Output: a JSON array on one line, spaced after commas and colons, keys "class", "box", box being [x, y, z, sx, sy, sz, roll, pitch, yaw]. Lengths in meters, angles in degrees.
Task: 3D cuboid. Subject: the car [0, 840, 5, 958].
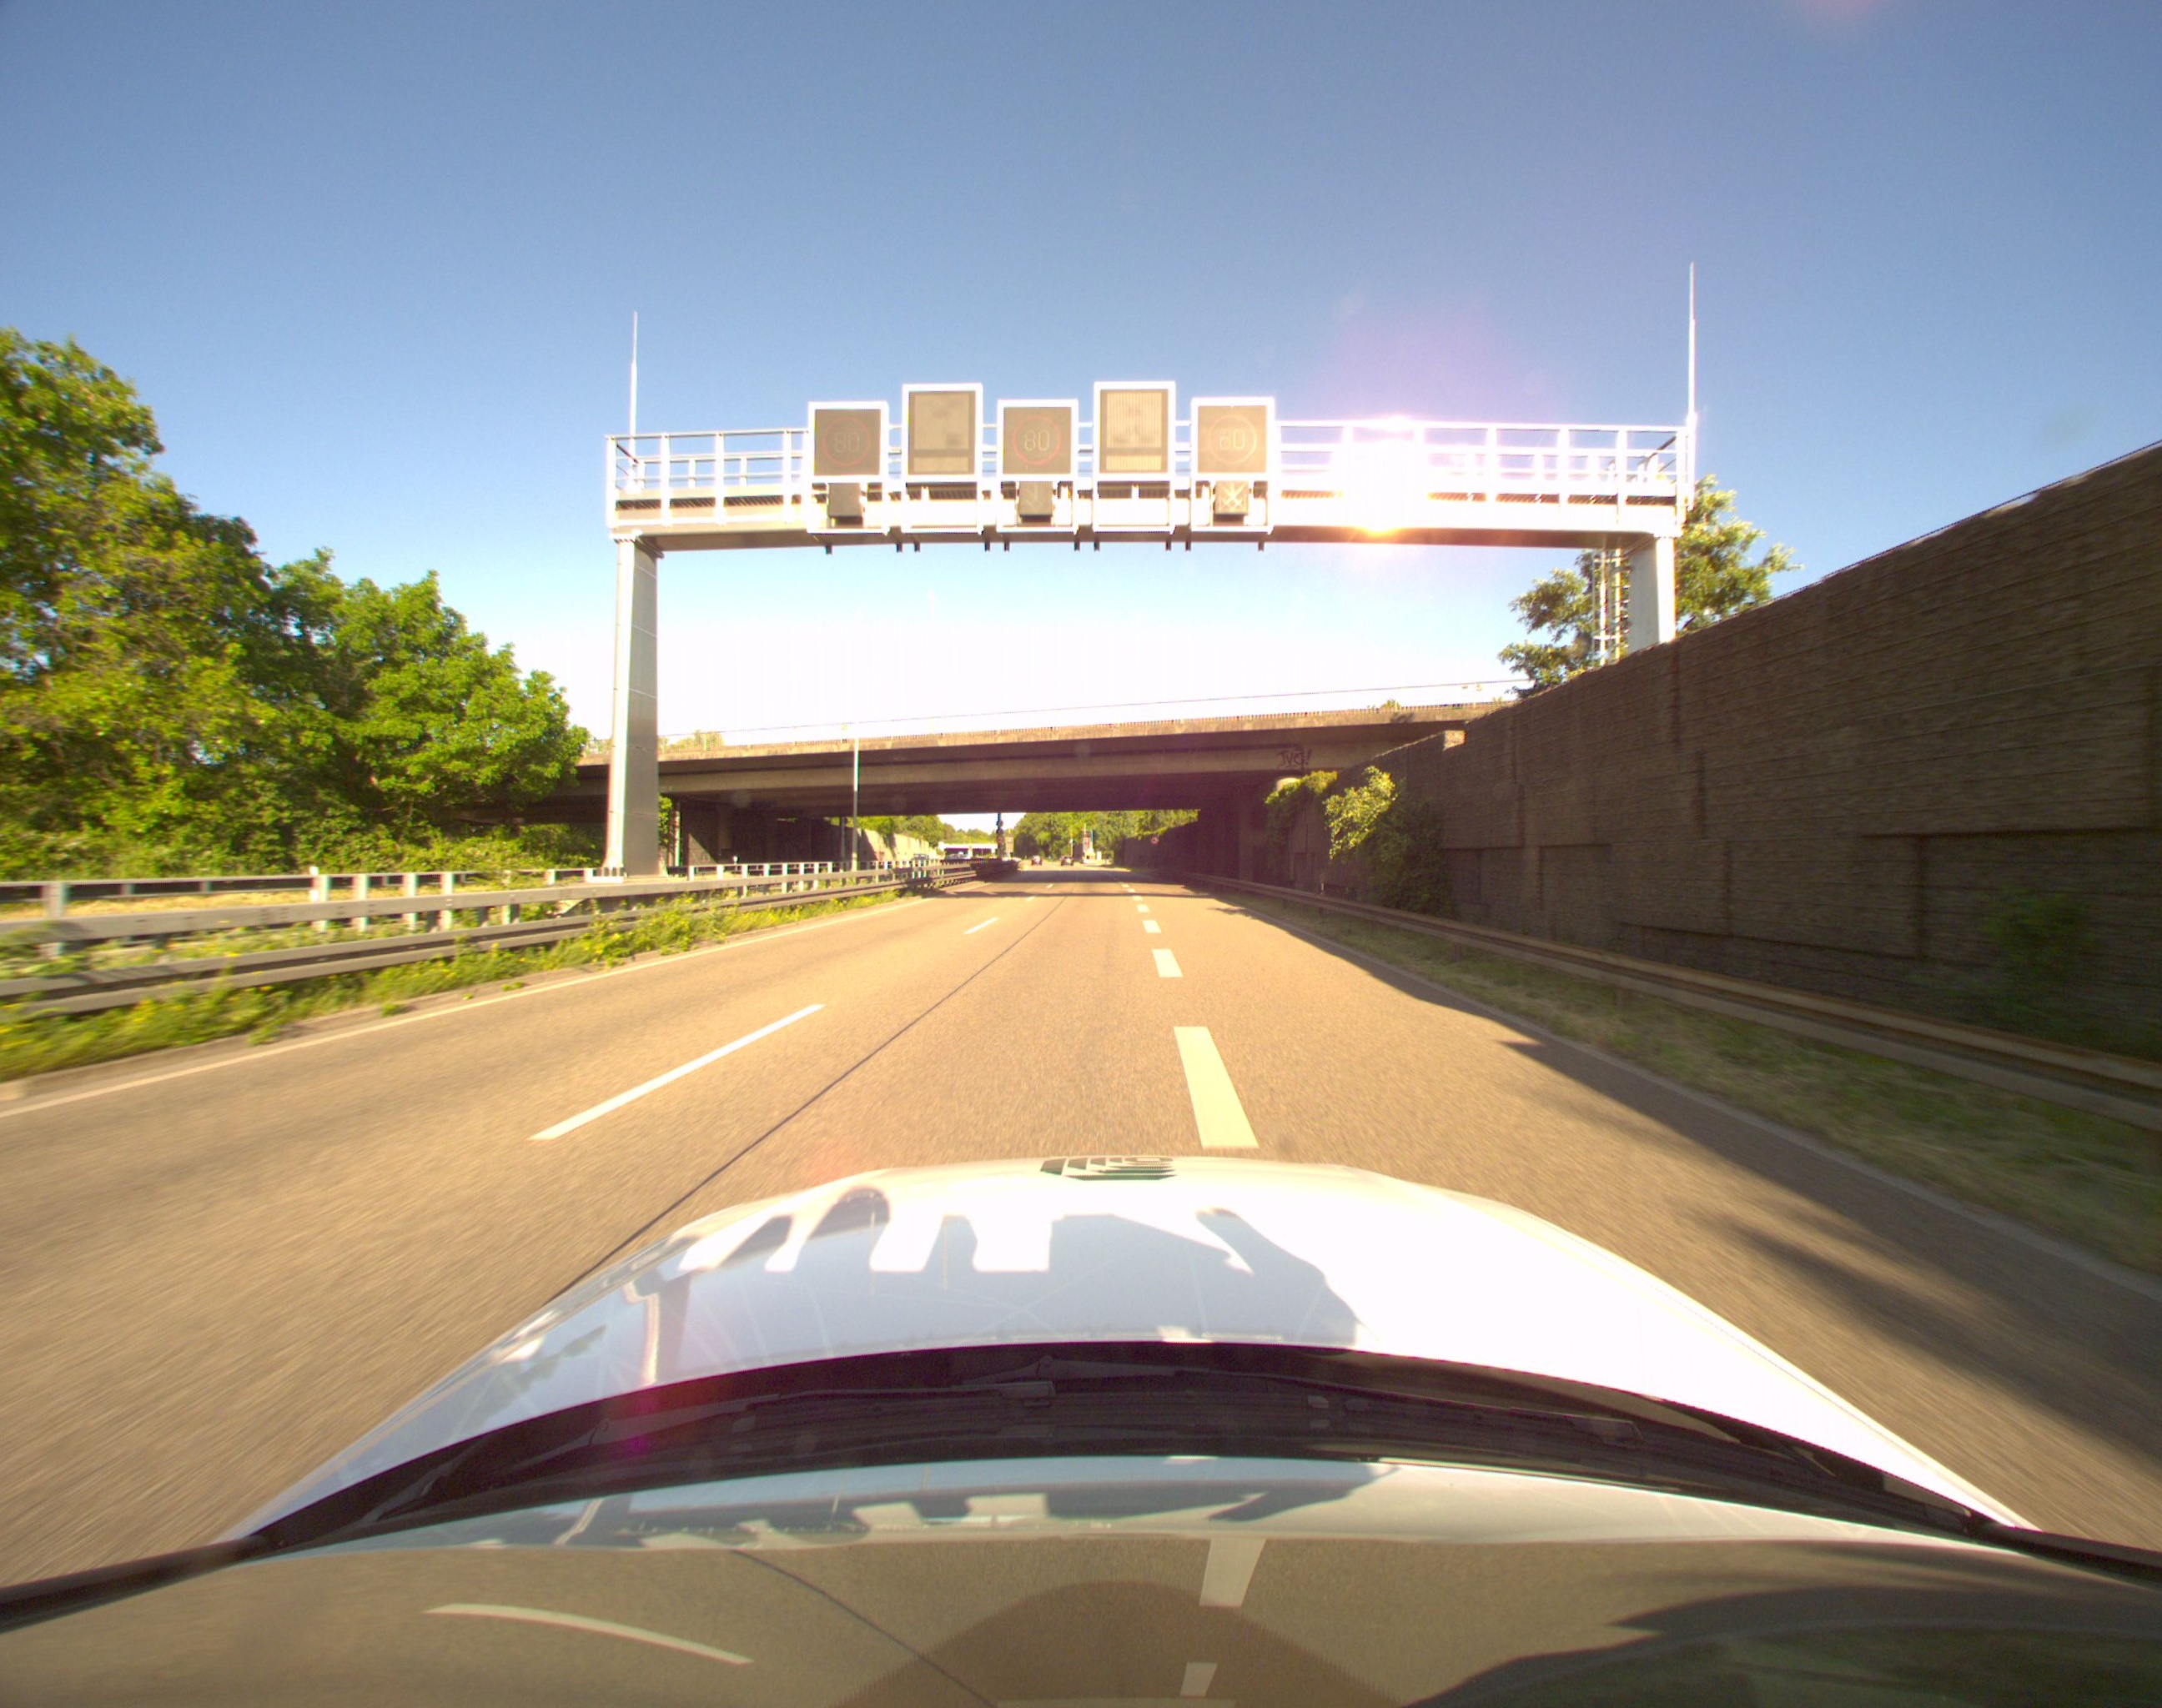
[{"class": "car", "box": [-16.134, 0.605, 9.004, 1.984, 1.641, 4.728, 1, 0, 5]}]

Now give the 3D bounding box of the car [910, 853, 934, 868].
[{"class": "car", "box": [-19.114, 0.732, 98.221, 1.987, 1.706, 4.560, -1, 0, 0]}]

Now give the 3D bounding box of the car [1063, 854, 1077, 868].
[{"class": "car", "box": [-1.661, 1.052, 120.464, 1.987, 1.926, 3.999, 1, 0, -1]}]

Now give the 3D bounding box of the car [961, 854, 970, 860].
[{"class": "car", "box": [-29.862, 0.784, 209.948, 1.894, 1.574, 4.801, 2, 0, -4]}]

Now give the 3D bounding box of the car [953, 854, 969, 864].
[{"class": "car", "box": [-19.625, 0.864, 133.554, 1.987, 1.596, 4.426, 0, 0, 0]}]

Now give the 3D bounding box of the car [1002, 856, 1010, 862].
[{"class": "car", "box": [-23.830, 1.540, 259.853, 1.995, 1.926, 3.984, 1, 0, -12]}]

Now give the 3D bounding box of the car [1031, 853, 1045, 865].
[{"class": "car", "box": [-6.999, 0.833, 132.260, 1.987, 1.926, 3.999, 1, 0, -1]}]
